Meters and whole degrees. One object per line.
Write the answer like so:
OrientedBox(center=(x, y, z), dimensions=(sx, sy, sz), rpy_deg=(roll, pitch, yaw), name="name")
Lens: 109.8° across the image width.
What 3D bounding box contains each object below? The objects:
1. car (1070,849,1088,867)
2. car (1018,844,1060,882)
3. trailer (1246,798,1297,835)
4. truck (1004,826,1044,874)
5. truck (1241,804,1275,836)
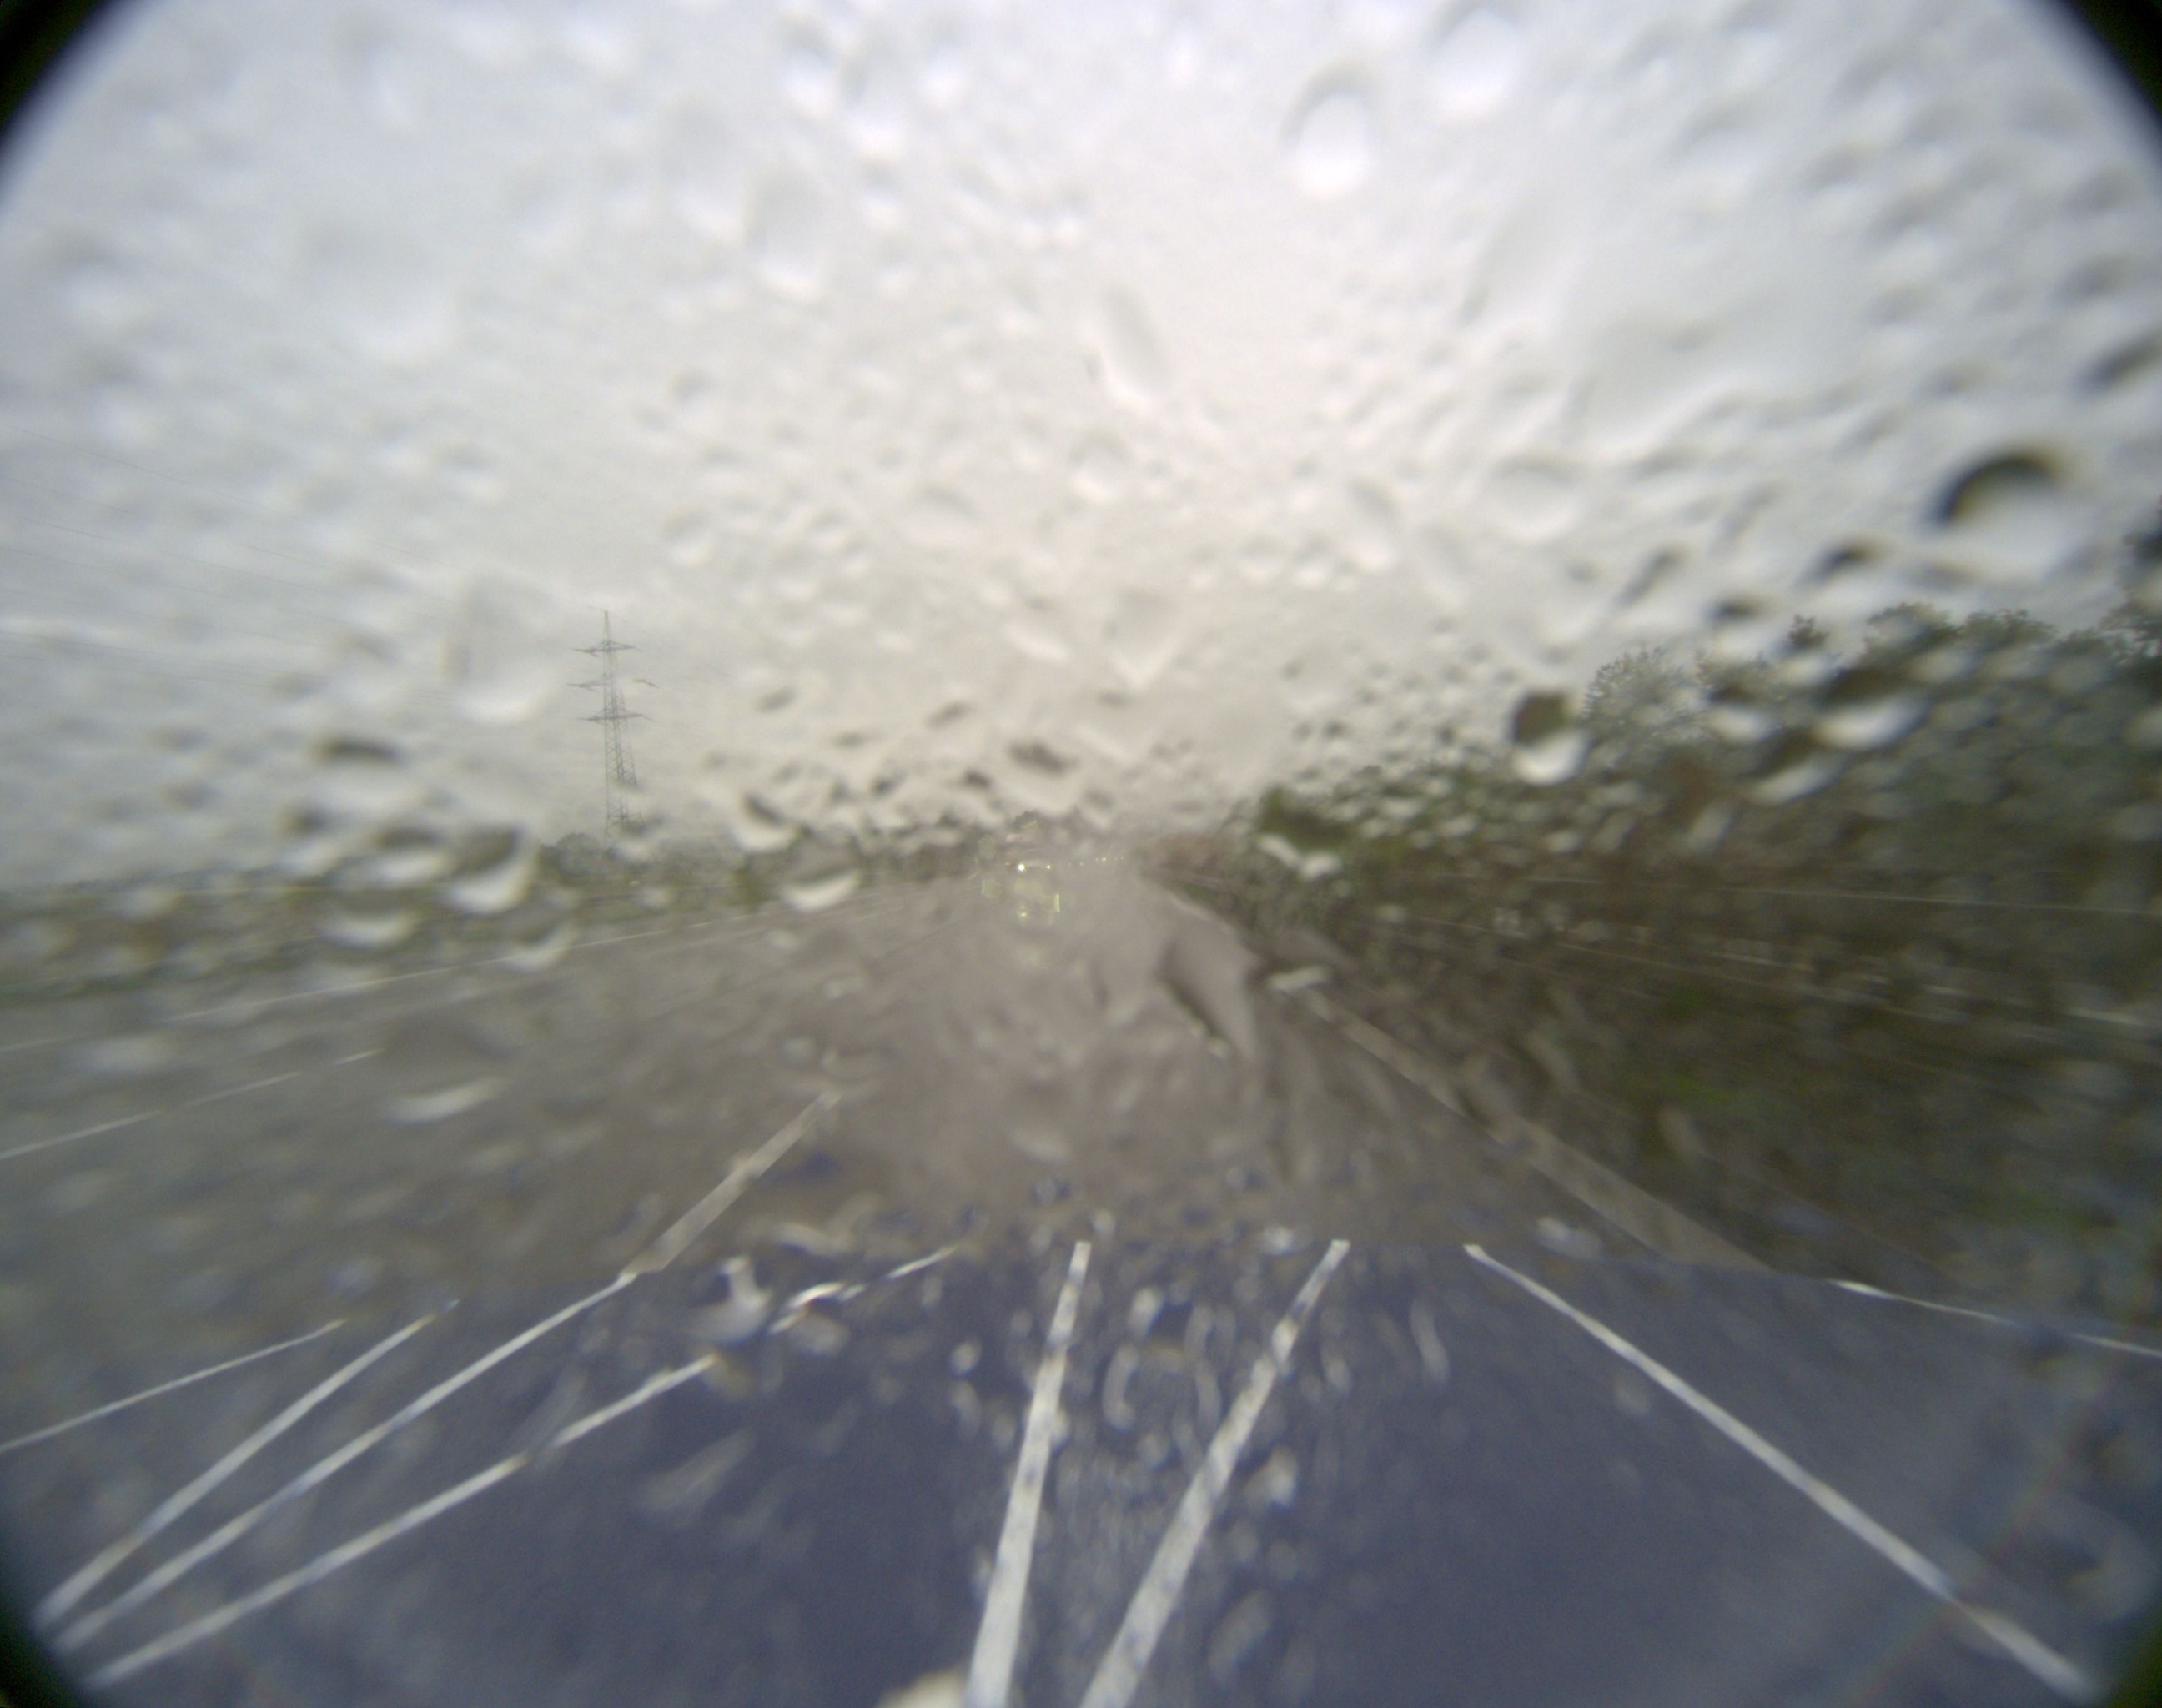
OrientedBox(center=(-0.208, 0.486, 94.010), dimensions=(1.998, 2.002, 4.000), rpy_deg=(-2, 1, 4), name="car")
OrientedBox(center=(-2.388, 0.483, 44.485), dimensions=(1.998, 2.002, 4.000), rpy_deg=(-3, 0, 2), name="car")
OrientedBox(center=(19.489, -3.746, 78.537), dimensions=(2.656, 3.319, 11.837), rpy_deg=(-2, 1, 2), name="trailer")
OrientedBox(center=(-5.916, -0.414, 80.901), dimensions=(3.136, 4.642, 11.402), rpy_deg=(-2, 1, 0), name="truck")
OrientedBox(center=(19.726, -3.778, 84.986), dimensions=(2.654, 3.320, 5.530), rpy_deg=(-2, 1, 2), name="truck")
